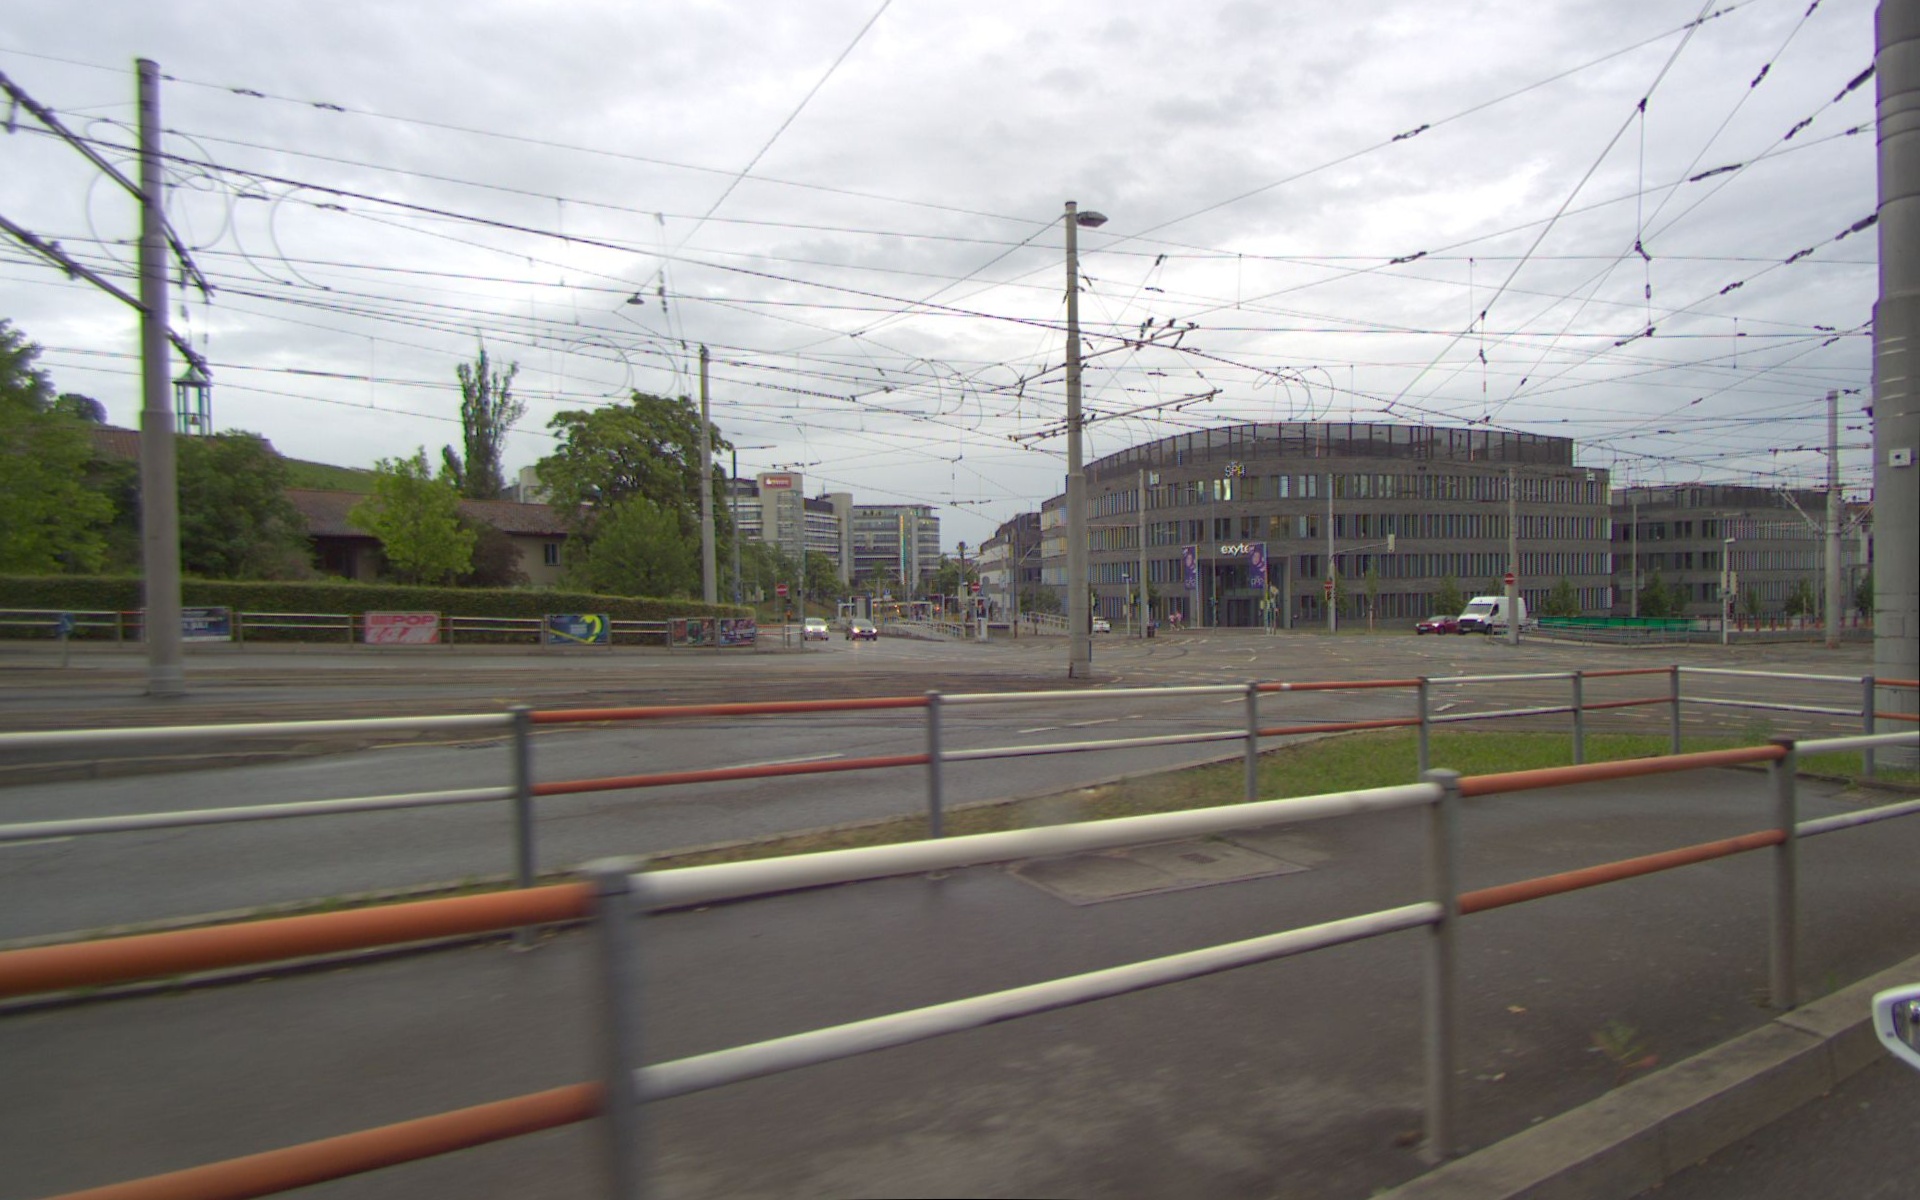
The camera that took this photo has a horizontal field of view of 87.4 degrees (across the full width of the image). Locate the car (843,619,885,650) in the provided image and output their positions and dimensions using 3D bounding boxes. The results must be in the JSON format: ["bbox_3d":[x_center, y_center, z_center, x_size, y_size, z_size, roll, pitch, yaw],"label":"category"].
[{"bbox_3d":[-6.736,2.395,70.216,1.969,2.040,3.983,3,-2,-19],"label":"car"}]

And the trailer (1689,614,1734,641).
[{"bbox_3d":[64.877,2.369,86.667,4.232,2.101,1.814,4,-2,-35],"label":"trailer"}]

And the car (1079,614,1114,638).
[{"bbox_3d":[12.227,2.333,90.106,1.964,2.040,3.994,3,-2,-9],"label":"car"}]

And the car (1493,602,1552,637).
[{"bbox_3d":[40.499,1.410,72.289,4.204,2.180,1.982,5,-4,-33],"label":"car"}]

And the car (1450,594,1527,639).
[{"bbox_3d":[35.010,1.114,66.456,5.657,2.869,1.982,1,-2,-34],"label":"car"}]

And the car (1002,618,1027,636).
[{"bbox_3d":[6.023,3.028,111.479,1.964,1.839,3.994,3,-2,-9],"label":"car"}]

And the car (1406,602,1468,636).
[{"bbox_3d":[32.952,1.310,69.305,4.203,2.181,1.982,3,-3,-33],"label":"car"}]

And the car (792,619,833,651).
[{"bbox_3d":[-10.098,2.367,68.573,1.969,2.040,3.983,3,-2,-19],"label":"car"}]
